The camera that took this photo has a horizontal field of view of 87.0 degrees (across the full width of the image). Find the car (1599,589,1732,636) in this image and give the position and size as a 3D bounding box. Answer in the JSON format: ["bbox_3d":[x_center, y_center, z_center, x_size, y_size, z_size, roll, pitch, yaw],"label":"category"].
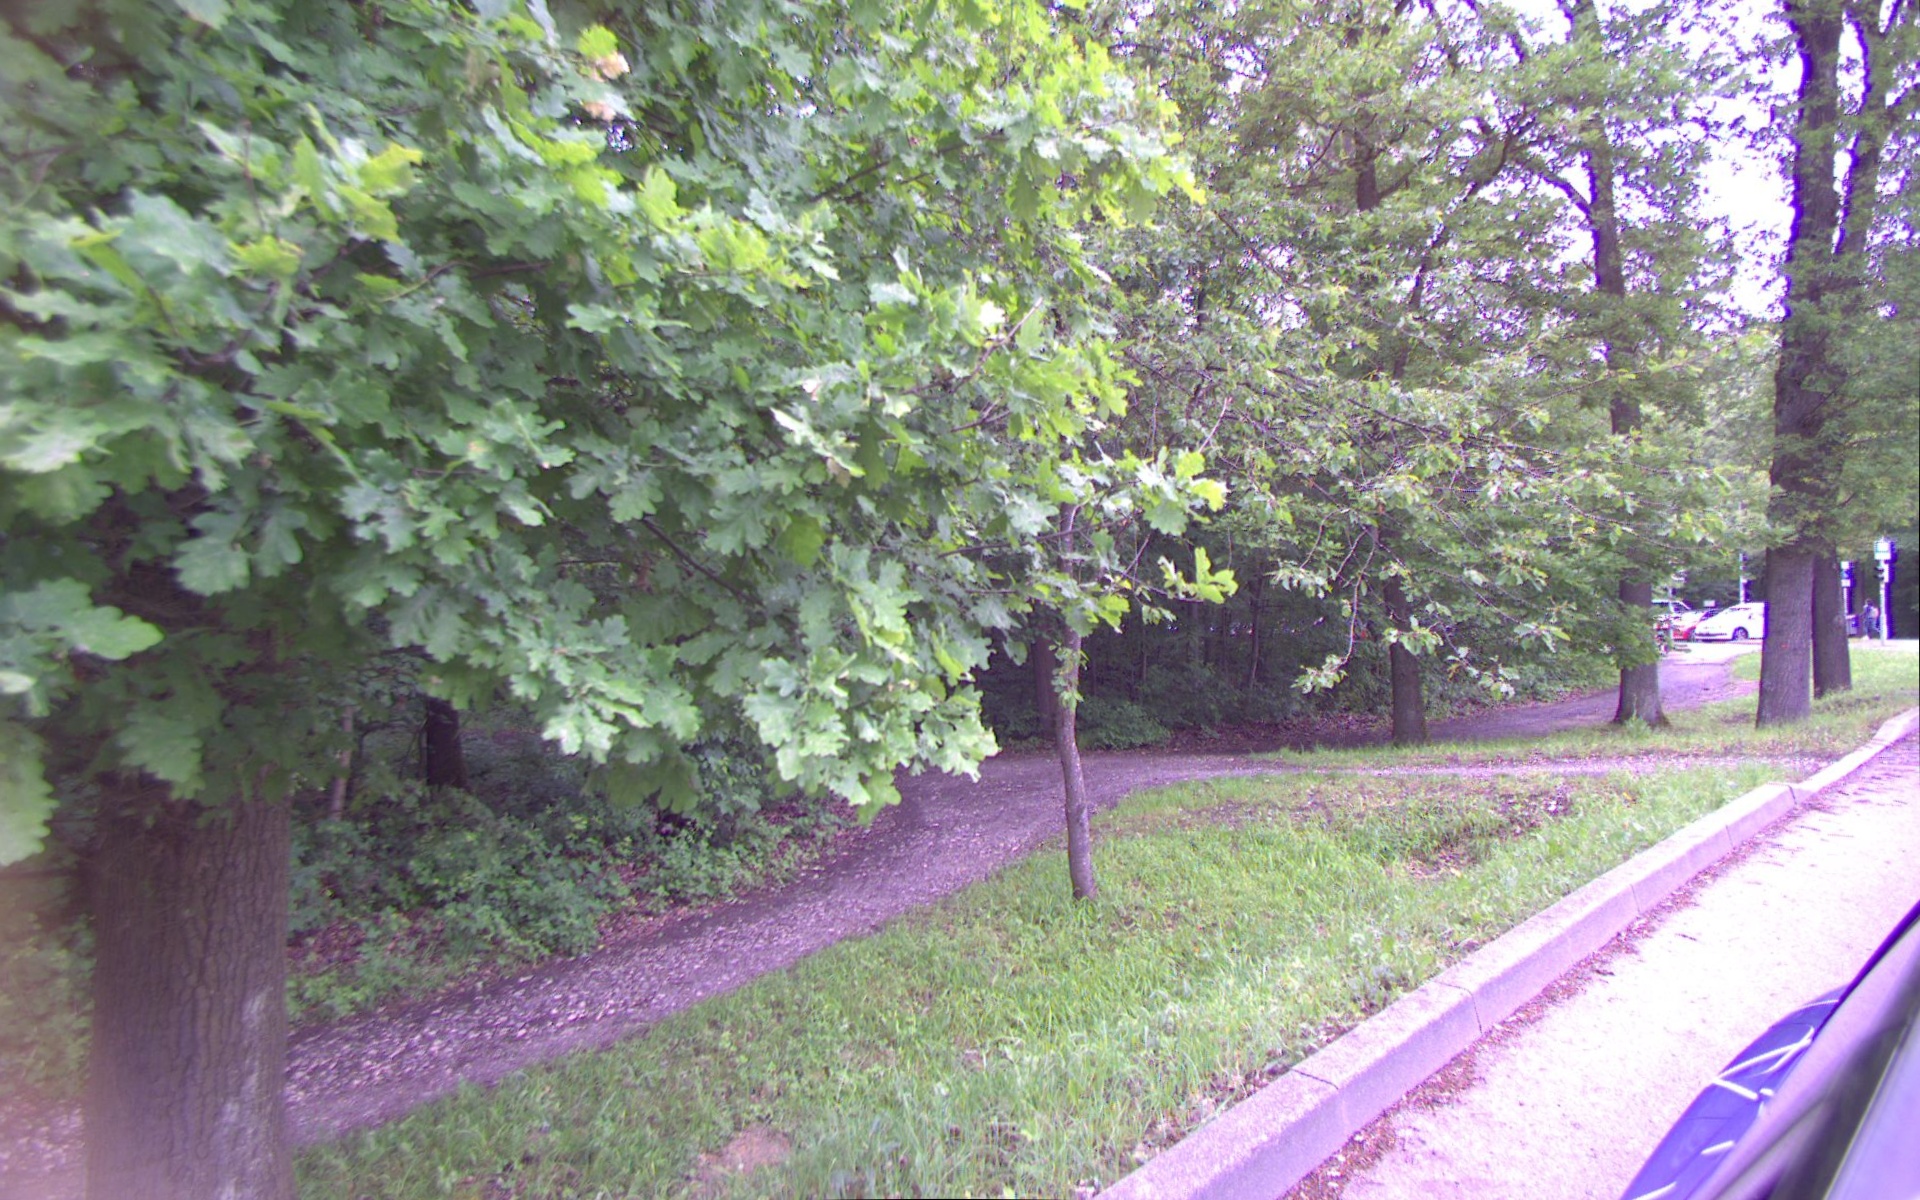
[{"bbox_3d":[33.514,0.611,48.124,5.077,1.982,2.065,-2,-2,-10],"label":"car"}]

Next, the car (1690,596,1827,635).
[{"bbox_3d":[33.895,0.677,43.014,4.332,1.572,2.001,-1,-2,-6],"label":"car"}]

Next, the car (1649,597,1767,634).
[{"bbox_3d":[33.650,0.719,45.595,3.920,1.572,1.896,-1,-2,-6],"label":"car"}]

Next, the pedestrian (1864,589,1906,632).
[{"bbox_3d":[37.141,0.420,40.639,1.086,1.697,0.900,-1,0,34],"label":"pedestrian"}]
